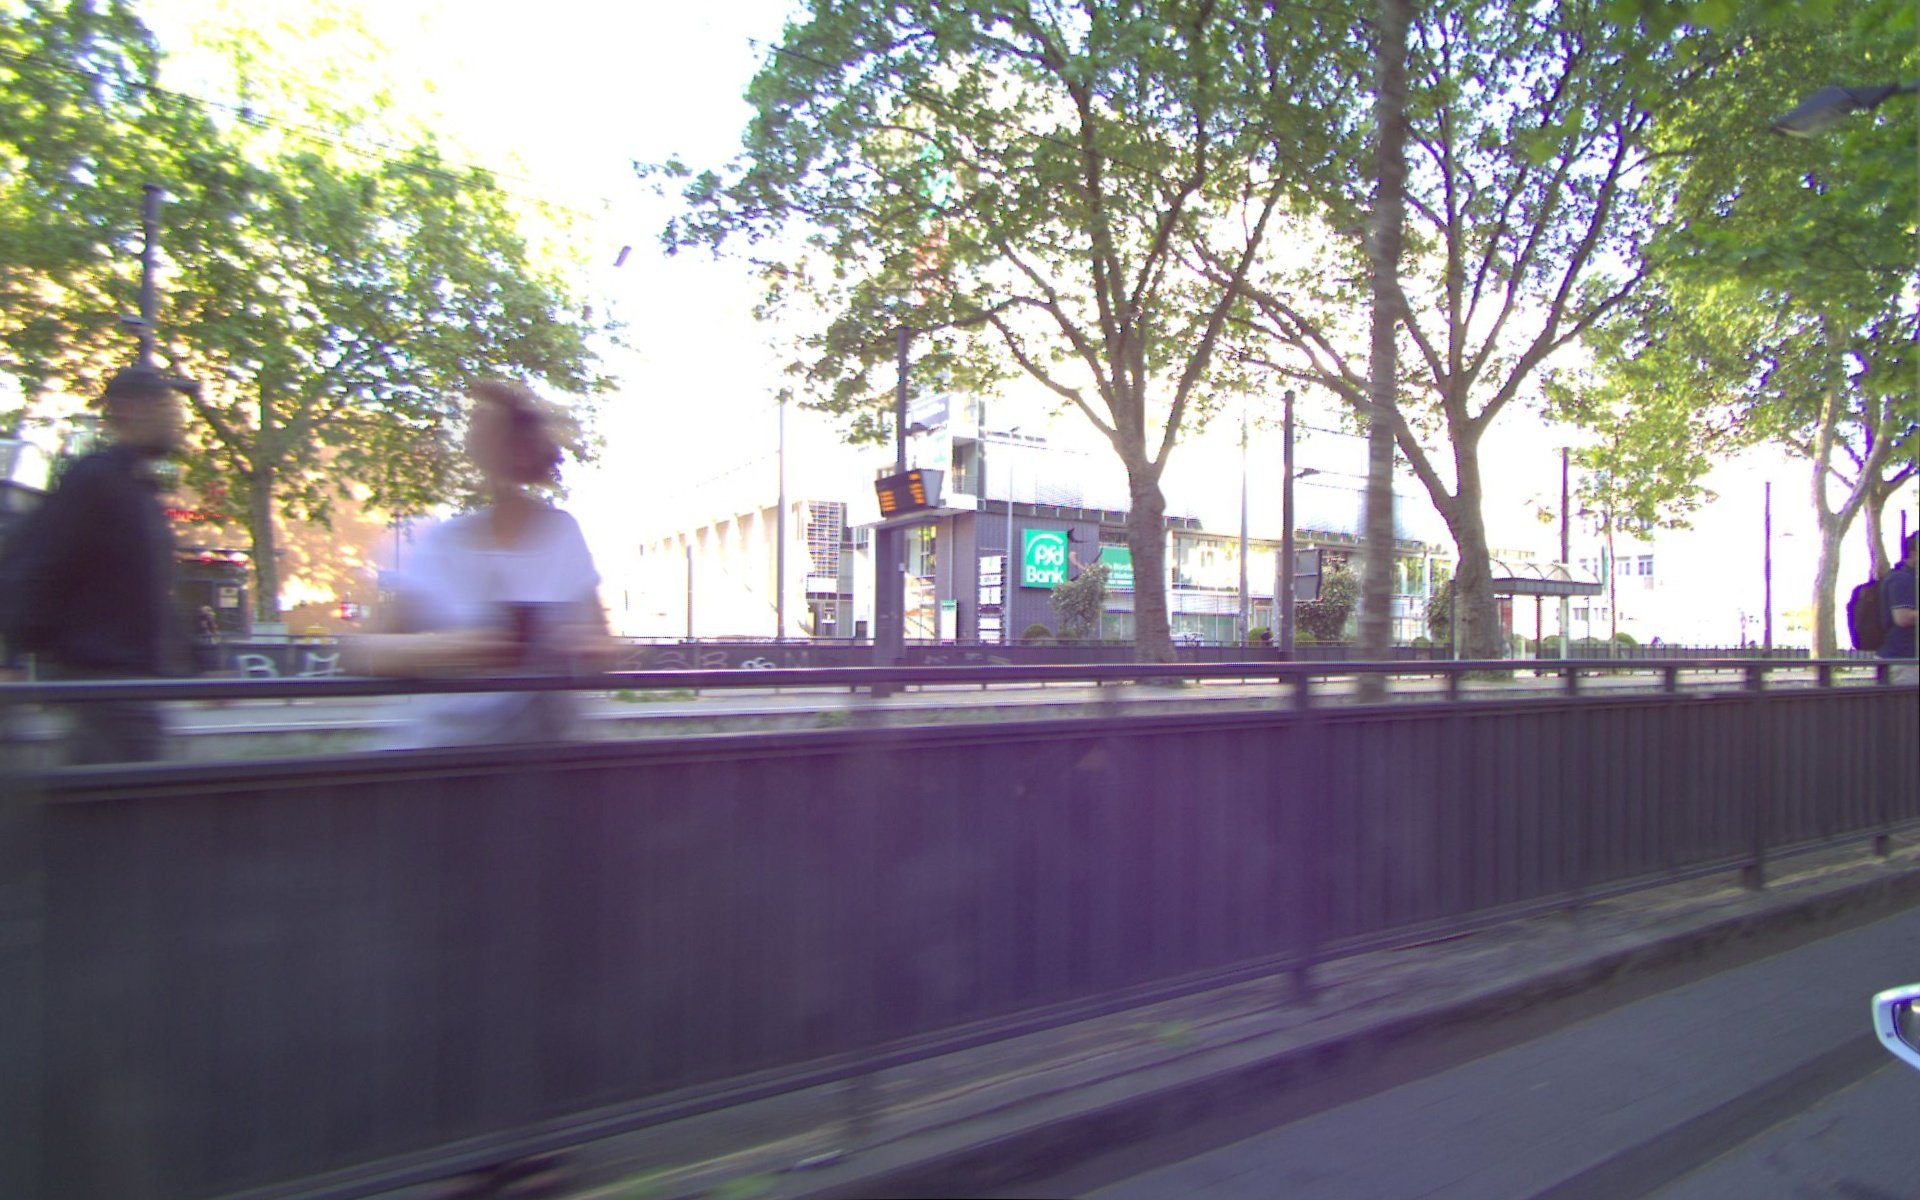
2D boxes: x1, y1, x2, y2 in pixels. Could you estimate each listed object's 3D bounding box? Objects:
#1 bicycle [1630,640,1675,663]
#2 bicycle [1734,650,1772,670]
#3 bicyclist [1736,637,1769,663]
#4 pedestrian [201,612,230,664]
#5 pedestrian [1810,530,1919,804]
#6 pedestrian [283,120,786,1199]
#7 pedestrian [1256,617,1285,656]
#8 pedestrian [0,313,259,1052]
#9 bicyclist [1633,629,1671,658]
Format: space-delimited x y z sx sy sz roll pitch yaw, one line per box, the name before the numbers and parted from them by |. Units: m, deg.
bicycle | 32.350 2.411 46.919 2.558 1.010 0.795 2 0 -33
bicycle | 41.520 3.137 52.588 2.558 1.010 0.795 2 0 -33
bicyclist | 41.491 2.617 52.585 1.359 1.267 0.998 1 0 -33
pedestrian | -23.623 1.194 31.883 0.572 1.625 0.576 2 -1 -25
pedestrian | 6.584 0.459 7.125 0.819 1.826 0.701 2 -2 -38
pedestrian | -0.771 0.247 1.770 0.638 1.712 0.736 2 0 -32
pedestrian | 12.946 1.533 41.866 0.759 1.613 0.901 2 -2 -31
pedestrian | -2.460 0.216 2.891 0.631 1.864 0.643 2 -1 -31
bicyclist | 32.328 2.019 46.908 1.359 1.267 0.998 1 0 -33
